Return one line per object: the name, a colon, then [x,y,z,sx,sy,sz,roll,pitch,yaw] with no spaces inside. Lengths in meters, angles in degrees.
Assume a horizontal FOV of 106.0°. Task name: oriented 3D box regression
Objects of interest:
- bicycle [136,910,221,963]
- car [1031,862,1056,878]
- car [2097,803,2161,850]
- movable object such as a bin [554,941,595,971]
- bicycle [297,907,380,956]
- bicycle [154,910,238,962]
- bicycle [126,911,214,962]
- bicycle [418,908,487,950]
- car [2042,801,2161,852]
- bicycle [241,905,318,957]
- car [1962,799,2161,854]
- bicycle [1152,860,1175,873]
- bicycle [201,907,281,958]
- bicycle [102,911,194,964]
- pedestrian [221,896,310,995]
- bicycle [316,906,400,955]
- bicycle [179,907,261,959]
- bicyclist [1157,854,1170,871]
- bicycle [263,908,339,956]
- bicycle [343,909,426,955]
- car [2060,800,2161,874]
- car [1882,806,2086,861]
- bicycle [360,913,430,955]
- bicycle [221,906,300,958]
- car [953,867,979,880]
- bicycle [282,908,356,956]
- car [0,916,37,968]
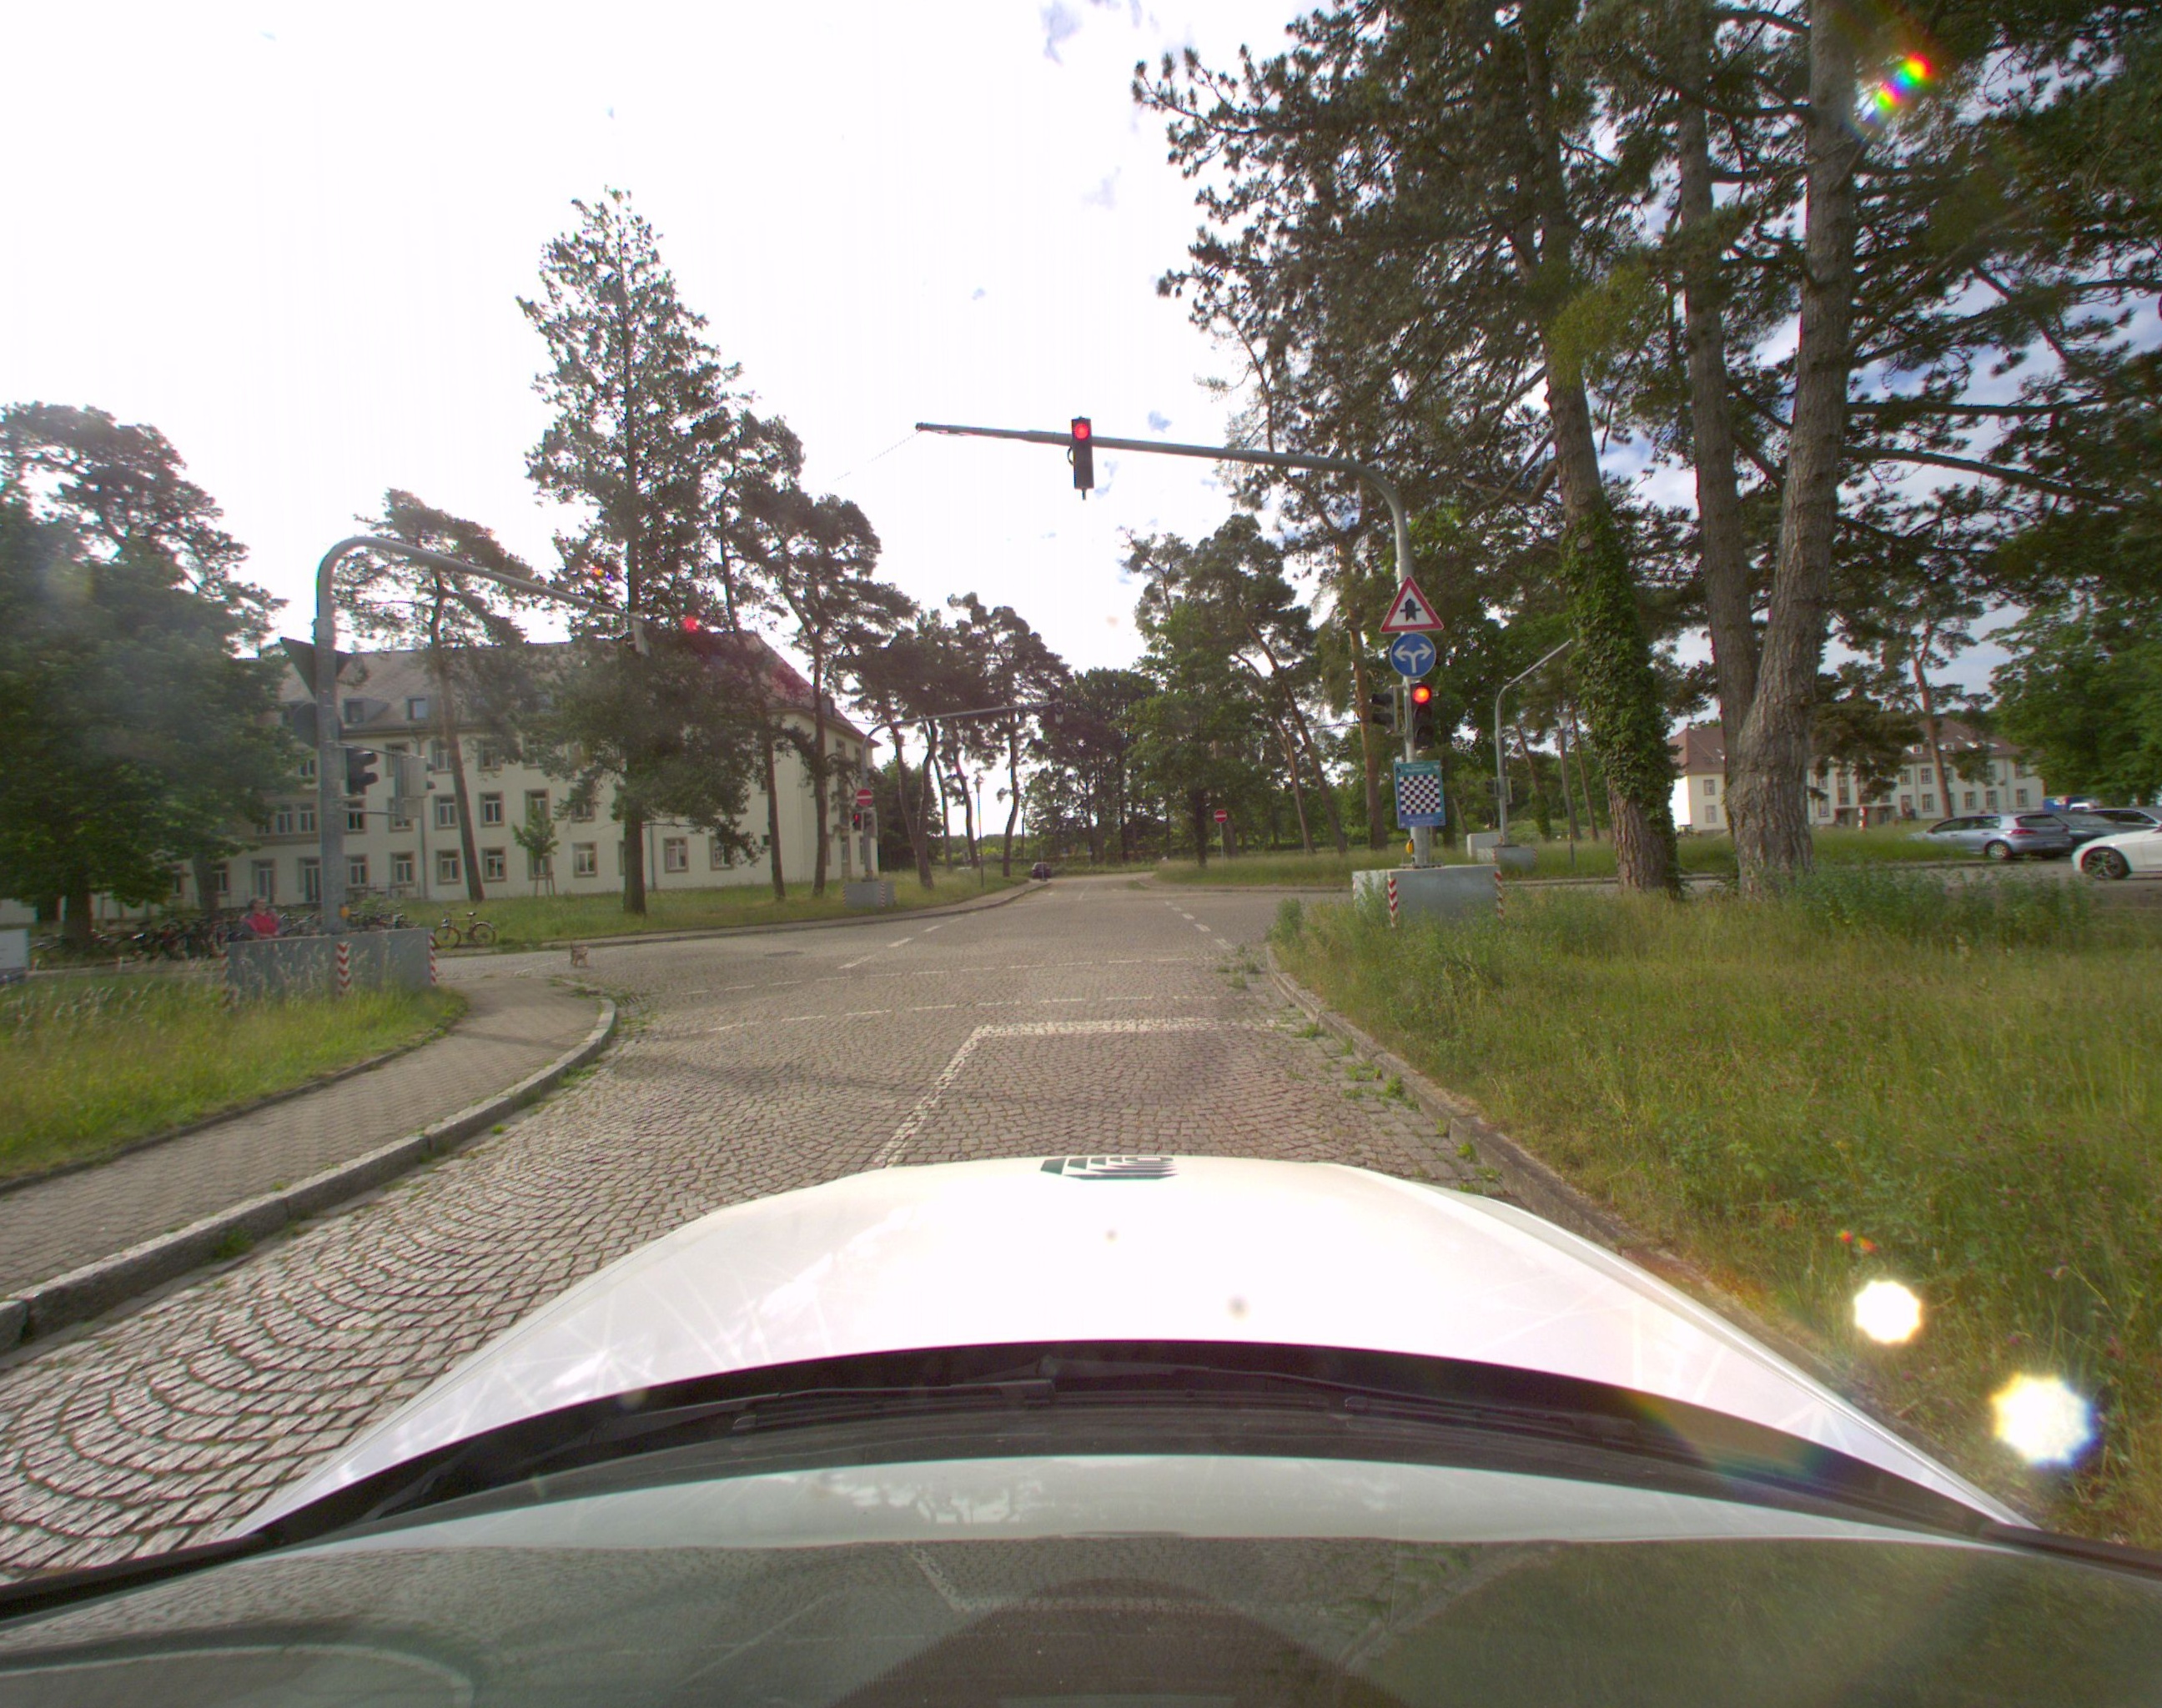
bicycle: [-25.423,2.300,22.977,0.447,1.283,1.695,-3,0,0]
car: [-3.594,1.519,78.738,1.985,1.508,4.003,-1,0,3]
car: [36.568,-0.976,26.341,1.748,1.524,4.444,-3,0,-2]
movable object such as a bin: [-9.818,1.966,15.778,0.742,0.503,0.447,-3,0,40]
bicycle: [-20.980,2.159,23.056,0.526,1.178,1.930,-3,0,0]
bicycle: [-24.937,2.285,22.985,0.447,1.283,1.695,-3,0,0]
bicycle: [-25.889,2.319,23.180,0.441,1.283,1.785,-3,0,0]
bicycle: [-16.678,1.977,21.624,1.453,0.996,0.452,-3,-1,2]
car: [33.984,-0.894,25.787,1.748,1.524,4.444,-3,0,-2]
bicycle: [-22.691,2.161,23.101,0.447,1.283,1.695,-3,0,0]
car: [31.332,-0.812,25.866,1.748,1.524,4.443,-3,0,-2]
bicycle: [7.733,1.171,76.412,1.981,1.095,0.809,-3,0,-3]
bicycle: [-23.711,2.193,23.025,0.447,1.283,1.695,-3,0,0]
bicycle: [-26.355,2.332,23.051,0.447,1.283,1.827,-3,0,0]
pedestrian: [-14.911,1.655,14.904,0.851,1.668,0.946,-4,-1,33]
bicycle: [-20.397,2.139,23.024,0.573,1.178,1.954,-3,0,0]
bicycle: [-24.274,2.211,23.006,0.447,1.283,1.695,-3,0,0]
bicyclist: [7.746,0.820,76.409,0.972,1.510,0.807,-3,-1,-2]
bicycle: [-21.979,2.190,22.987,0.447,1.178,1.695,-3,0,0]
bicycle: [-19.699,2.183,23.092,0.573,1.078,1.996,-3,0,0]
car: [21.385,-0.384,14.795,1.748,1.415,4.444,-3,-1,-2]
car: [28.919,-0.586,26.336,1.745,1.524,4.451,-3,0,3]
bicycle: [-18.199,2.118,21.615,1.453,0.996,0.452,-3,-1,2]
bicycle: [-23.196,2.177,23.064,0.447,1.283,1.695,-3,0,0]
car: [-11.252,1.908,79.777,1.682,1.156,4.003,-3,0,3]
bicycle: [-21.492,2.187,23.003,0.447,1.178,1.695,-3,0,0]
car: [-34.314,2.800,24.046,1.832,1.556,3.899,-3,0,2]
